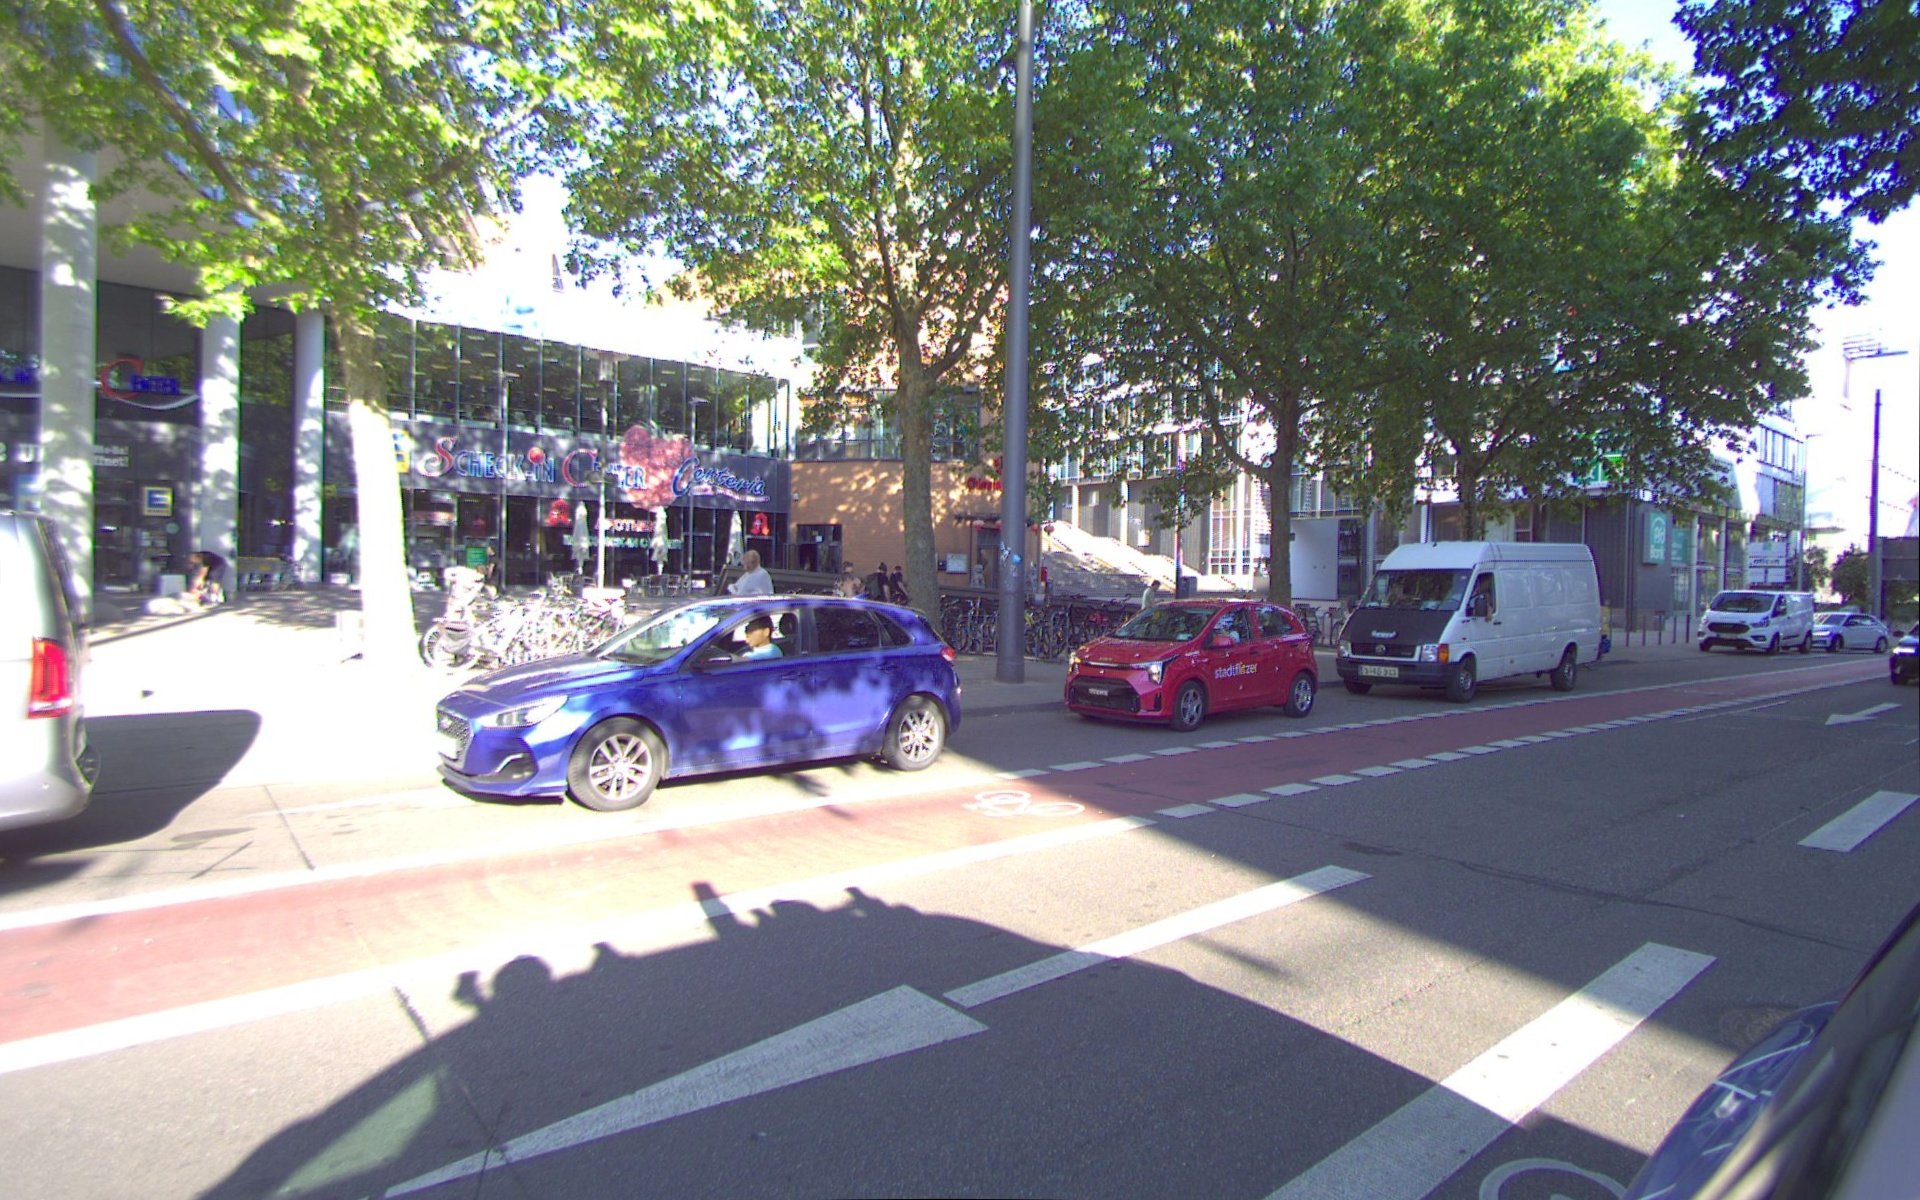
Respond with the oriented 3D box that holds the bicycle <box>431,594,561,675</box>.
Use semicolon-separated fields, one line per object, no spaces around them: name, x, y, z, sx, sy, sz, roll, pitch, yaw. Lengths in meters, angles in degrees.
bicycle;-6.348;0.445;13.890;1.546;1.038;0.461;0;1;-44

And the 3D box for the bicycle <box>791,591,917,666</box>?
bicycle;-1.682;0.448;16.009;1.908;1.130;0.598;1;1;-13

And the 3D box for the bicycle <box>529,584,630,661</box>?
bicycle;-6.056;0.344;16.146;1.450;1.174;0.421;0;1;-40

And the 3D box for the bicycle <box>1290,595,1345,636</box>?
bicycle;9.721;0.418;27.507;1.624;1.060;0.597;0;1;-37

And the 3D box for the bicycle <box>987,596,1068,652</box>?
bicycle;1.333;0.459;19.904;1.626;1.044;0.596;0;1;-41

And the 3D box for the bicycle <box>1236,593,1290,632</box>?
bicycle;8.495;0.349;28.348;1.624;1.060;0.597;0;1;-37

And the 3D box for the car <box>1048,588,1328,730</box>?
car;2.879;0.614;12.435;3.558;1.482;1.561;0;1;-41

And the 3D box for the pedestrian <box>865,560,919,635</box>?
pedestrian;-1.648;-0.065;24.510;1.000;1.779;0.789;1;1;-35

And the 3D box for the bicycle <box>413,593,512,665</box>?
bicycle;-7.410;0.424;15.108;1.293;1.038;0.397;1;1;-24

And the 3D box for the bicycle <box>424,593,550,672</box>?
bicycle;-6.645;0.434;14.264;1.546;1.038;0.461;0;1;-44

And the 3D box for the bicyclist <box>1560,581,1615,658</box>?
bicyclist;14.303;0.445;23.092;0.700;1.709;0.754;1;1;-10

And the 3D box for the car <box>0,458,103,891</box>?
car;-6.718;0.339;4.002;5.047;1.991;1.997;0;0;-41

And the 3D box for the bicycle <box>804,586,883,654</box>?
bicycle;-2.088;0.338;18.246;0.478;1.174;1.455;2;1;41

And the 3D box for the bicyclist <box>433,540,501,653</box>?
bicyclist;-8.056;-0.060;16.570;0.834;1.789;0.754;1;1;-12

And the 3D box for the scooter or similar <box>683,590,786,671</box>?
scooter or similar;-3.427;0.453;15.361;1.249;1.156;0.905;-2;0;37

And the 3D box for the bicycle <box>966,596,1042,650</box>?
bicycle;0.900;0.443;20.376;1.626;1.044;0.503;0;1;-41

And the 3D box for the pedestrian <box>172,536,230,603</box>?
pedestrian;-19.281;-0.781;25.706;0.860;1.661;0.956;2;1;34

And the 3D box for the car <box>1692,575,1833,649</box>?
car;25.793;0.347;32.464;5.189;2.160;2.130;0;1;-35

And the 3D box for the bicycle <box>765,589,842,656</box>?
bicycle;-2.856;0.388;18.543;0.420;1.174;1.455;2;1;41

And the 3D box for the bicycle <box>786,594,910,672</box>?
bicycle;-1.705;0.499;15.334;1.788;1.130;0.598;1;1;-13

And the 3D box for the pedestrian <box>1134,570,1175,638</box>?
pedestrian;4.856;0.089;25.278;0.623;1.651;0.719;1;1;-34

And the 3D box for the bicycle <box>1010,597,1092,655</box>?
bicycle;1.755;0.483;19.380;1.626;1.044;0.596;0;1;-41

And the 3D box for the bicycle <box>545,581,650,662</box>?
bicycle;-5.556;0.315;15.549;1.451;1.174;0.421;0;1;-42

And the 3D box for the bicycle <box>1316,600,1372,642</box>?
bicycle;10.205;0.537;26.892;1.624;1.060;0.597;0;1;-37

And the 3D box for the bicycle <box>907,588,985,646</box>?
bicycle;-0.288;0.346;21.501;1.662;1.174;0.479;0;1;-37

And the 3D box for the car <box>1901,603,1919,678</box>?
car;20.495;0.780;20.314;4.268;1.443;1.826;0;0;-40

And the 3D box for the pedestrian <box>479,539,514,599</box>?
pedestrian;-14.770;-0.997;32.242;0.834;1.867;1.002;1;1;-15

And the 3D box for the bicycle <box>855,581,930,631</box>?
bicycle;-1.632;0.138;24.536;1.735;1.174;0.579;0;1;-34

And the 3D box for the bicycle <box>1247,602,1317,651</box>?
bicycle;7.351;0.590;23.102;1.622;1.060;0.598;0;1;-32

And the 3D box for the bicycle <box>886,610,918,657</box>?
bicycle;-1.053;0.589;18.226;0.391;0.770;1.114;1;1;-13

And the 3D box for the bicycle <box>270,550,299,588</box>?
bicycle;-21.267;-0.972;31.893;0.705;1.142;1.921;1;1;-32

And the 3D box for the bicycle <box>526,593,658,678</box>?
bicycle;-4.916;0.451;13.556;1.542;1.070;0.630;0;1;-35

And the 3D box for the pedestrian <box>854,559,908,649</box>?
pedestrian;-1.614;0.066;20.621;0.756;1.779;0.820;1;1;-35

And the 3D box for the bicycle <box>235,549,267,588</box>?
bicycle;-22.030;-0.982;31.476;0.705;1.142;1.921;1;1;-32

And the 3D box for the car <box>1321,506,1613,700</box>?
car;8.808;0.043;17.223;6.443;2.759;1.998;0;0;-39

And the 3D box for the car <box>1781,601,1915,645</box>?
car;31.376;0.809;35.773;3.937;1.437;1.791;1;1;-19

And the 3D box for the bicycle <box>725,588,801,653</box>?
bicycle;-3.731;0.376;19.244;0.420;1.174;1.455;2;1;41

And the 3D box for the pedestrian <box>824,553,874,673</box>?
pedestrian;-1.744;0.192;15.804;0.644;1.808;0.810;1;1;-14

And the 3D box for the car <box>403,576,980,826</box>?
car;-1.976;0.594;8.158;4.143;1.482;1.768;0;2;-41

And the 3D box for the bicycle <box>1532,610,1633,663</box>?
bicycle;14.200;0.827;23.103;2.083;1.135;0.552;1;1;-9

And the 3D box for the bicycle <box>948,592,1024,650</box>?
bicycle;0.546;0.418;20.808;1.626;1.151;0.503;0;1;-41

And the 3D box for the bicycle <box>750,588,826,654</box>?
bicycle;-3.193;0.369;18.883;0.420;1.174;1.455;2;1;41

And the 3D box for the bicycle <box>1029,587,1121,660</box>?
bicycle;2.169;0.417;18.892;1.843;1.280;0.596;0;1;-41

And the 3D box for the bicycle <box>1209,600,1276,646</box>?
bicycle;6.749;0.536;24.151;1.622;1.060;0.598;0;1;-32

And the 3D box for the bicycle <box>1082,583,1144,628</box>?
bicycle;4.050;0.132;26.727;1.622;1.140;0.598;0;1;-32

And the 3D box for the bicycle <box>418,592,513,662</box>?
bicycle;-7.604;0.413;15.597;1.293;1.038;0.397;1;1;-24

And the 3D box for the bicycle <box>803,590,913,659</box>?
bicycle;-1.753;0.424;17.360;1.788;1.130;0.610;1;1;-13

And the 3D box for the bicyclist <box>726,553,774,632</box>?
bicyclist;-4.431;-0.158;21.396;0.806;1.636;0.564;1;1;-36

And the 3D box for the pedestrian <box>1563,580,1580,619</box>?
pedestrian;26.718;-0.028;44.233;0.534;1.697;0.717;2;1;25

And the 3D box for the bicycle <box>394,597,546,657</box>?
bicycle;-7.994;0.443;16.587;2.138;0.945;0.669;1;1;-13

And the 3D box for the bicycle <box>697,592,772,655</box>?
bicycle;-4.378;0.431;19.727;0.420;1.174;1.455;2;1;41

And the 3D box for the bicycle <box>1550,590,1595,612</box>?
bicycle;31.786;0.030;52.547;0.687;1.076;1.879;0;2;-38

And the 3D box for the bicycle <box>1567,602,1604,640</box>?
bicycle;20.163;0.670;32.624;1.511;1.173;0.514;0;1;-39

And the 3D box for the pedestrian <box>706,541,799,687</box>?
pedestrian;-2.681;0.154;13.093;0.872;1.808;0.796;2;1;43

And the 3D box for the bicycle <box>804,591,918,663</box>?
bicycle;-1.640;0.447;16.728;1.788;1.130;0.598;1;1;-13

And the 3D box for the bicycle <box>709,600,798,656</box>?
bicycle;-4.365;0.576;21.463;1.745;1.140;0.568;0;1;-36

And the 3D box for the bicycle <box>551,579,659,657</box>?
bicycle;-5.246;0.254;15.009;1.451;1.095;0.421;0;1;-42

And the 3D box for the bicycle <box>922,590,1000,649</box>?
bicycle;0.031;0.393;21.064;1.662;1.174;0.479;0;1;-37
